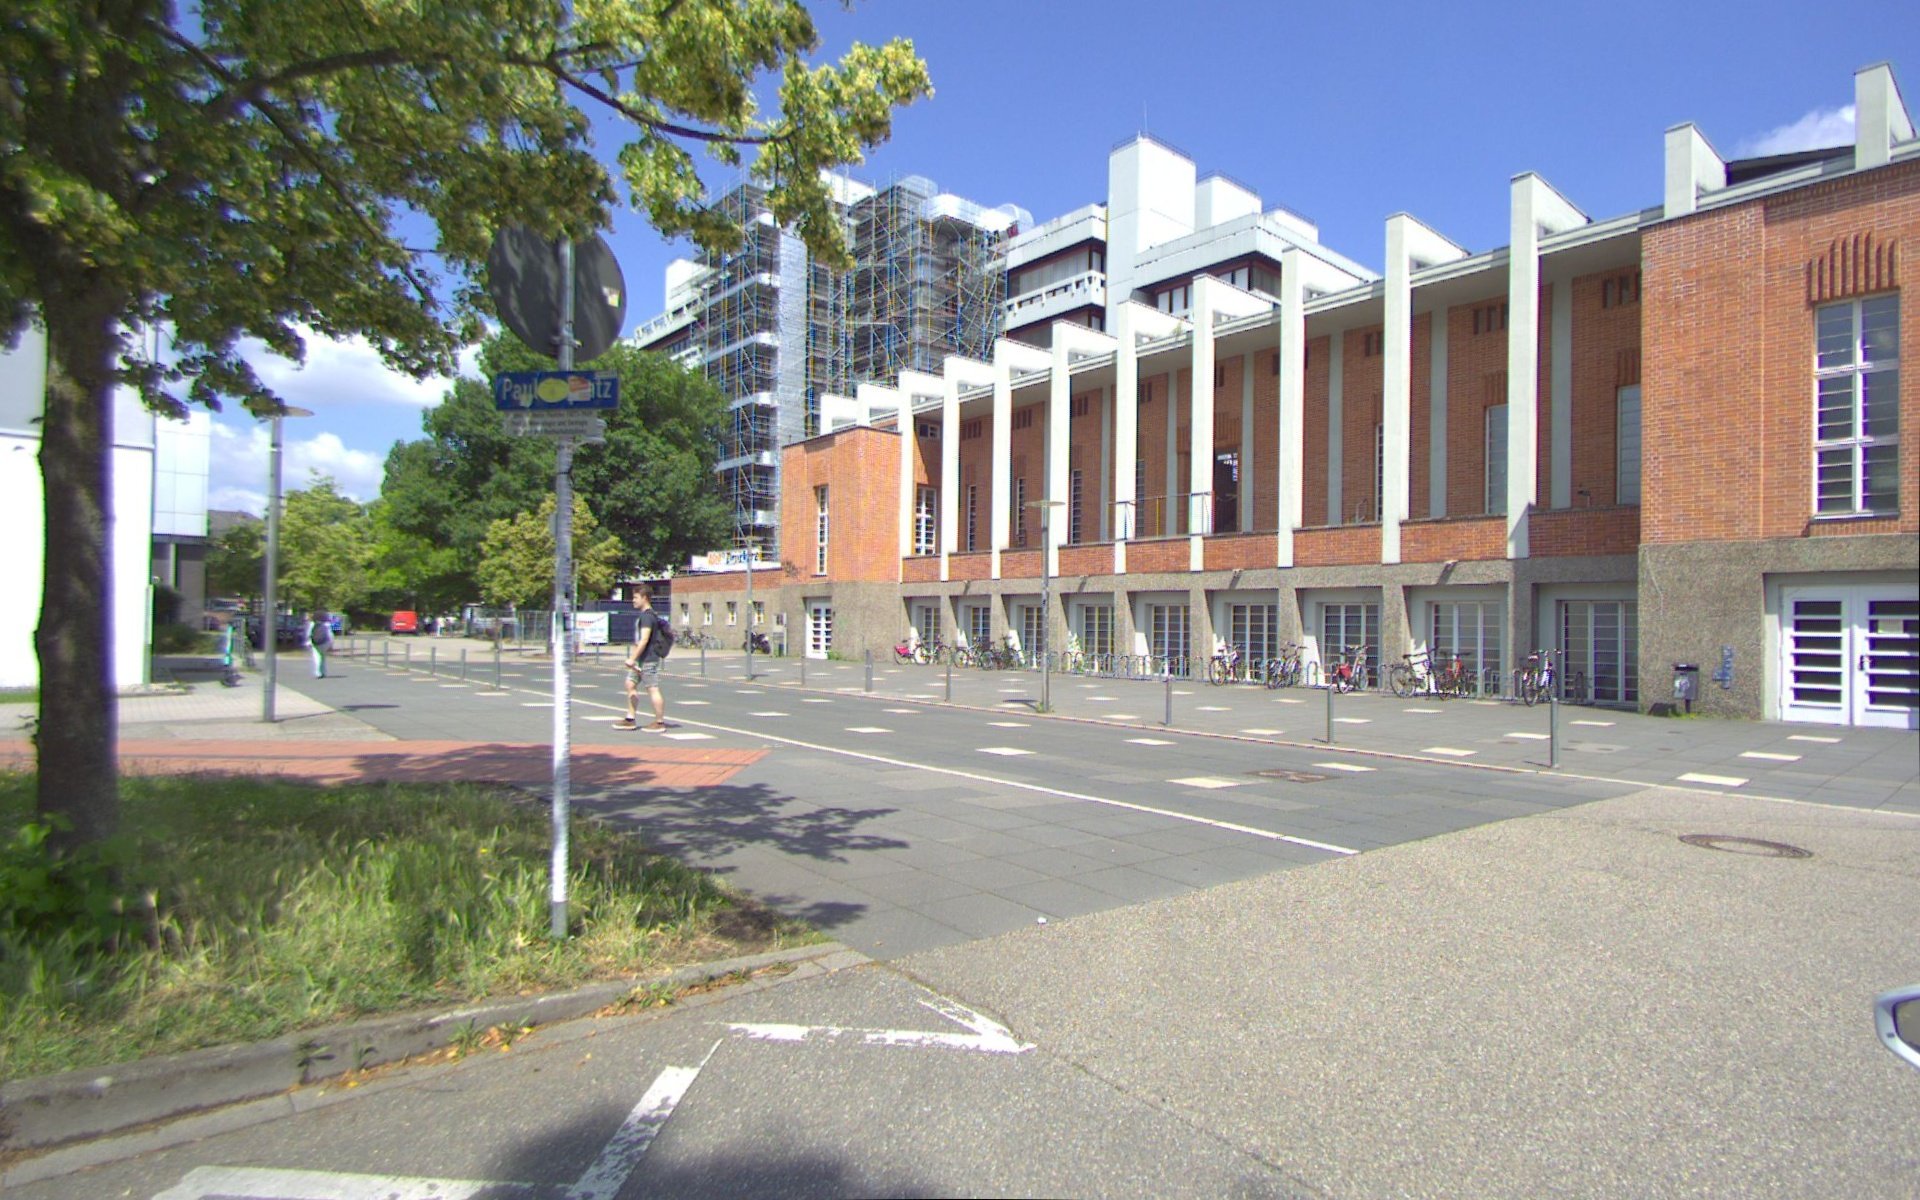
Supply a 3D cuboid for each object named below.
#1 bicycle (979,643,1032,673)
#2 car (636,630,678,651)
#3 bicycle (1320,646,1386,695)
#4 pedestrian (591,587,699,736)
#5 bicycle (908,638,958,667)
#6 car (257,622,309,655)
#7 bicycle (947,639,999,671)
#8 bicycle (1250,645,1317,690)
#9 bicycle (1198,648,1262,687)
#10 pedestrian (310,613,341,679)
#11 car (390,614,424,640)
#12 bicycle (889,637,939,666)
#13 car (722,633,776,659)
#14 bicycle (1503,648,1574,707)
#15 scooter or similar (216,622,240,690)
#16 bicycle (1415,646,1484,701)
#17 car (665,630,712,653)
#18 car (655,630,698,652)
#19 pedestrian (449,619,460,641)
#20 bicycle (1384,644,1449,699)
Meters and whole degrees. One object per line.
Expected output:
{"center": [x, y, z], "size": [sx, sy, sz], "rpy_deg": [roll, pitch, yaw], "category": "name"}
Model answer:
{"center": [1.542, 1.924, 33.680], "size": [1.942, 0.953, 0.562], "rpy_deg": [2, -2, -42], "category": "bicycle"}
{"center": [-17.231, 2.297, 57.141], "size": [2.307, 1.196, 0.474], "rpy_deg": [2, -2, -39], "category": "car"}
{"center": [9.346, 1.655, 23.834], "size": [2.001, 1.096, 0.614], "rpy_deg": [2, -2, -42], "category": "bicycle"}
{"center": [-4.047, 0.799, 13.021], "size": [1.151, 1.823, 1.019], "rpy_deg": [3, -3, -12], "category": "pedestrian"}
{"center": [-0.980, 1.910, 36.659], "size": [1.942, 1.043, 0.512], "rpy_deg": [2, -2, -42], "category": "bicycle"}
{"center": [-30.757, 1.727, 45.599], "size": [1.541, 1.404, 3.412], "rpy_deg": [2, -2, -41], "category": "car"}
{"center": [0.448, 1.888, 34.704], "size": [1.942, 1.043, 0.524], "rpy_deg": [2, -2, -42], "category": "bicycle"}
{"center": [8.172, 1.686, 25.330], "size": [2.013, 1.075, 0.655], "rpy_deg": [2, -2, -42], "category": "bicycle"}
{"center": [7.173, 1.772, 26.641], "size": [1.942, 0.973, 0.676], "rpy_deg": [2, -2, -42], "category": "bicycle"}
{"center": [-14.447, 1.039, 22.863], "size": [0.520, 1.458, 0.693], "rpy_deg": [2, -2, -37], "category": "pedestrian"}
{"center": [-41.050, 2.009, 74.498], "size": [1.894, 1.906, 3.964], "rpy_deg": [1, -2, -33], "category": "car"}
{"center": [-1.697, 1.914, 37.268], "size": [1.942, 1.043, 0.535], "rpy_deg": [2, -2, -42], "category": "bicycle"}
{"center": [-9.977, 2.153, 47.527], "size": [2.508, 1.196, 0.625], "rpy_deg": [2, -2, -39], "category": "car"}
{"center": [11.891, 1.563, 20.607], "size": [2.013, 1.140, 0.659], "rpy_deg": [2, -2, -42], "category": "bicycle"}
{"center": [-13.916, 1.046, 19.091], "size": [0.324, 1.252, 1.062], "rpy_deg": [2, -2, -37], "category": "scooter or similar"}
{"center": [10.764, 1.600, 22.065], "size": [2.011, 1.140, 0.586], "rpy_deg": [2, -2, -40], "category": "bicycle"}
{"center": [-14.566, 2.217, 53.936], "size": [2.349, 1.196, 0.785], "rpy_deg": [2, -2, -39], "category": "car"}
{"center": [-15.600, 2.258, 55.344], "size": [2.271, 1.196, 0.518], "rpy_deg": [2, -2, -39], "category": "car"}
{"center": [-37.002, 2.198, 73.530], "size": [0.635, 1.559, 0.449], "rpy_deg": [1, -1, -29], "category": "pedestrian"}
{"center": [10.385, 1.598, 22.823], "size": [2.009, 1.140, 0.434], "rpy_deg": [0, -1, -37], "category": "bicycle"}
